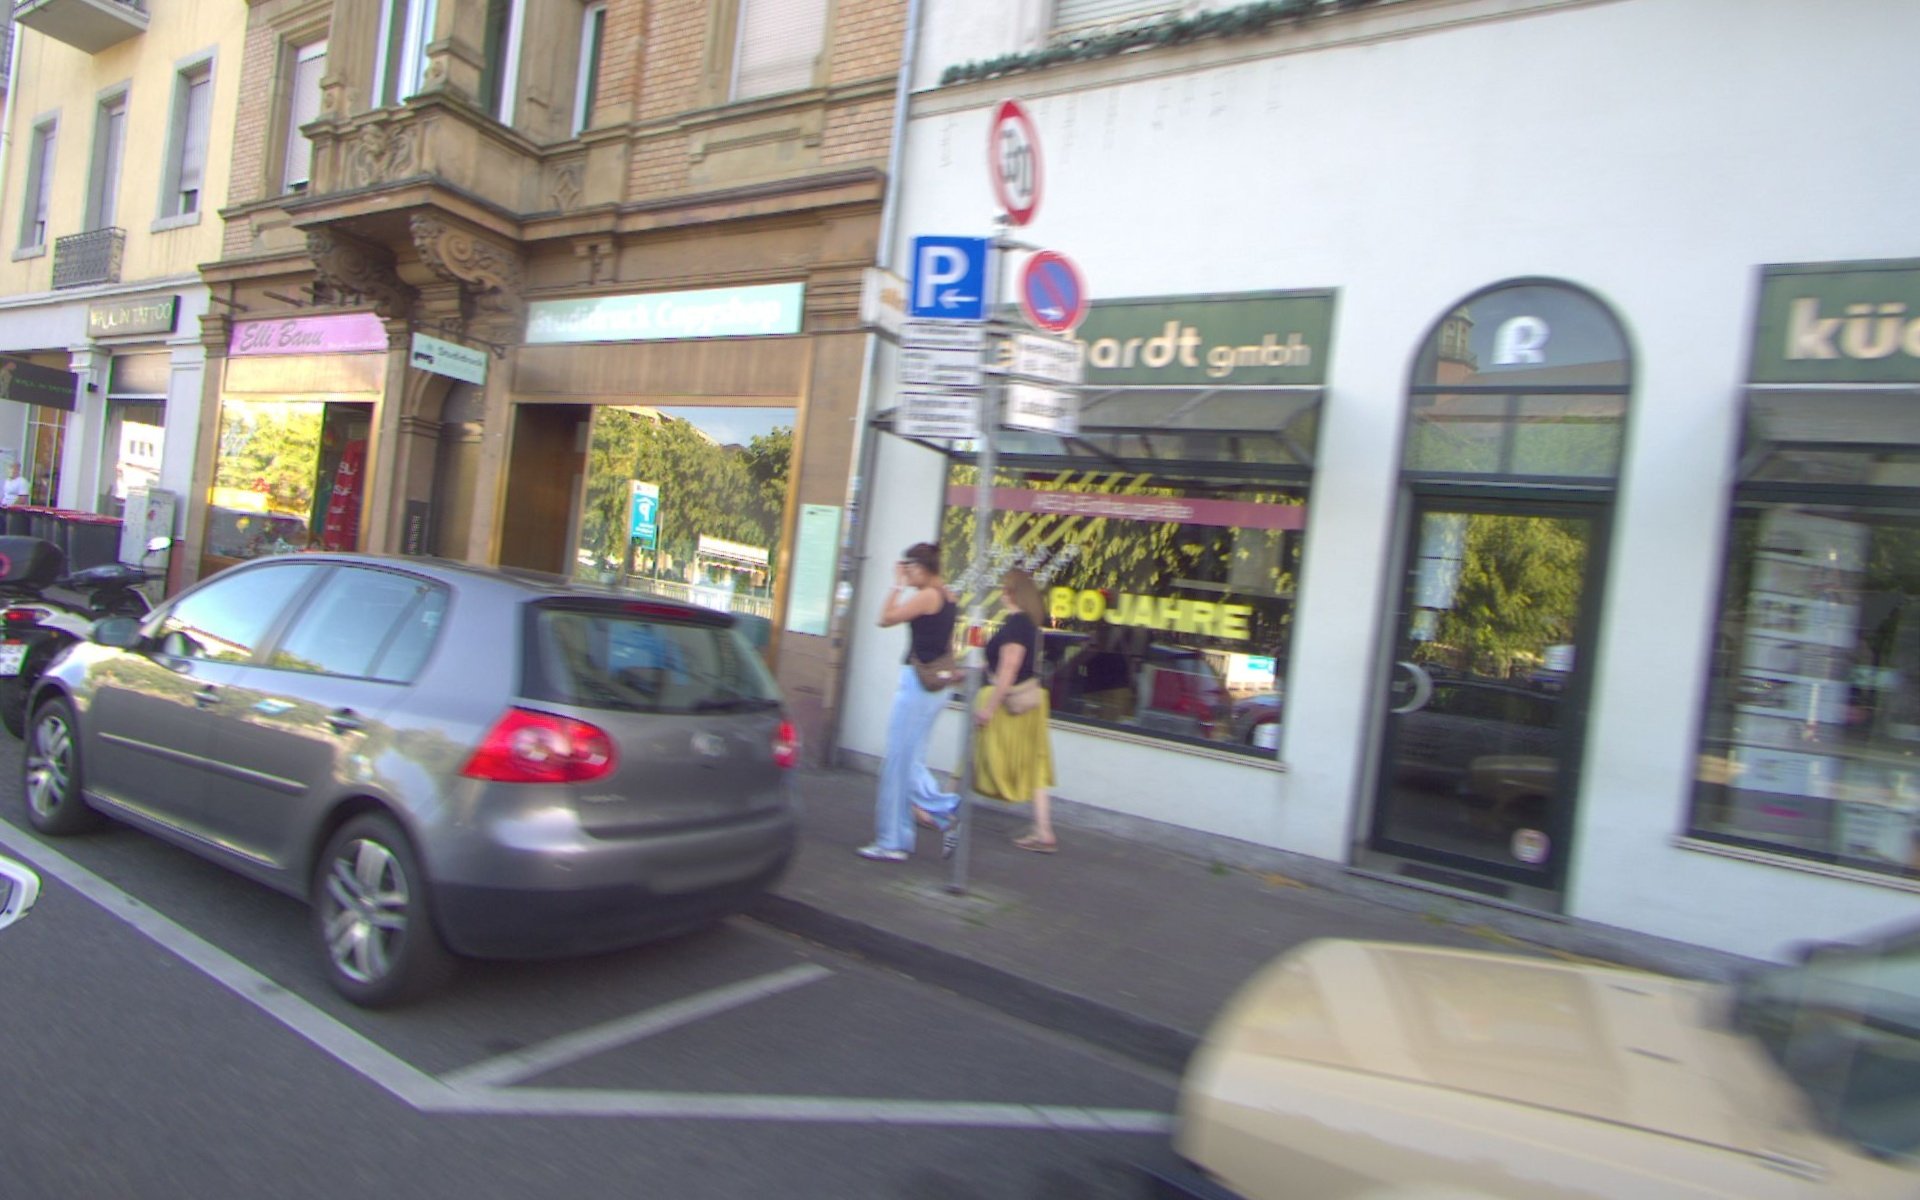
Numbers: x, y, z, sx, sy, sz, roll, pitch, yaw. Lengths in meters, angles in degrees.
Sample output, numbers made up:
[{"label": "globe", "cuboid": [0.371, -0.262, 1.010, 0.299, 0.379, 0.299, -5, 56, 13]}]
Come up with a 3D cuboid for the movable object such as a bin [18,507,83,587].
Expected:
[{"label": "movable object such as a bin", "cuboid": [-13.144, -0.757, 14.544, 0.621, 1.066, 0.479, 8, 2, 30]}]

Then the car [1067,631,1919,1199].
[{"label": "car", "cuboid": [2.257, 1.083, 1.666, 3.766, 1.466, 1.612, 8, -1, 31]}]

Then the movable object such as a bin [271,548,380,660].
[{"label": "movable object such as a bin", "cuboid": [-6.858, 0.048, 10.878, 0.806, 1.090, 0.644, 8, 2, 32]}]

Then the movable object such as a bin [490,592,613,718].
[{"label": "movable object such as a bin", "cuboid": [-3.614, 0.480, 8.919, 0.583, 1.013, 0.724, 8, 2, 31]}]

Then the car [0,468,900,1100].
[{"label": "car", "cuboid": [-2.597, 0.459, 4.638, 4.156, 1.564, 1.843, 8, -1, 30]}]

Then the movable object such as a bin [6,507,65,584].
[{"label": "movable object such as a bin", "cuboid": [-13.612, -0.800, 14.813, 0.460, 1.066, 0.479, 8, 2, 30]}]

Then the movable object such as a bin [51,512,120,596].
[{"label": "movable object such as a bin", "cuboid": [-12.043, -0.632, 13.855, 0.621, 1.066, 0.479, 8, 2, 30]}]

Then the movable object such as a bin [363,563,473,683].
[{"label": "movable object such as a bin", "cuboid": [-5.303, 0.226, 9.853, 0.621, 1.066, 0.645, 8, 2, 30]}]

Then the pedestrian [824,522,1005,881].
[{"label": "pedestrian", "cuboid": [-0.237, 0.527, 5.455, 0.510, 1.788, 0.620, 7, 1, 33]}]

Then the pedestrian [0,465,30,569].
[{"label": "pedestrian", "cuboid": [-15.779, -1.386, 16.551, 0.505, 1.655, 0.470, 8, 0, 36]}]

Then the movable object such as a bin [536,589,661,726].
[{"label": "movable object such as a bin", "cuboid": [-3.085, 0.482, 8.605, 0.615, 1.057, 0.680, 8, 2, 31]}]

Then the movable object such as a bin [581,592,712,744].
[{"label": "movable object such as a bin", "cuboid": [-2.538, 0.542, 8.166, 0.615, 1.111, 0.680, 8, 2, 31]}]

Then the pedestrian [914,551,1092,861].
[{"label": "pedestrian", "cuboid": [0.273, 0.606, 6.087, 0.580, 1.697, 0.801, 7, 2, 33]}]

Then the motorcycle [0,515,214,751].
[{"label": "motorcycle", "cuboid": [-5.975, 0.160, 6.794, 0.646, 1.344, 2.038, 7, 0, -14]}]

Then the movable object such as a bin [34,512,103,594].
[{"label": "movable object such as a bin", "cuboid": [-12.597, -0.664, 14.214, 0.621, 1.066, 0.495, 8, 2, 30]}]

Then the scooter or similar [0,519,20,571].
[{"label": "scooter or similar", "cuboid": [-15.270, -0.887, 15.892, 0.576, 0.790, 0.461, 4, 2, -43]}]

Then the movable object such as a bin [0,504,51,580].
[{"label": "movable object such as a bin", "cuboid": [-14.048, -0.862, 15.064, 0.491, 1.066, 0.456, 8, 2, 30]}]
